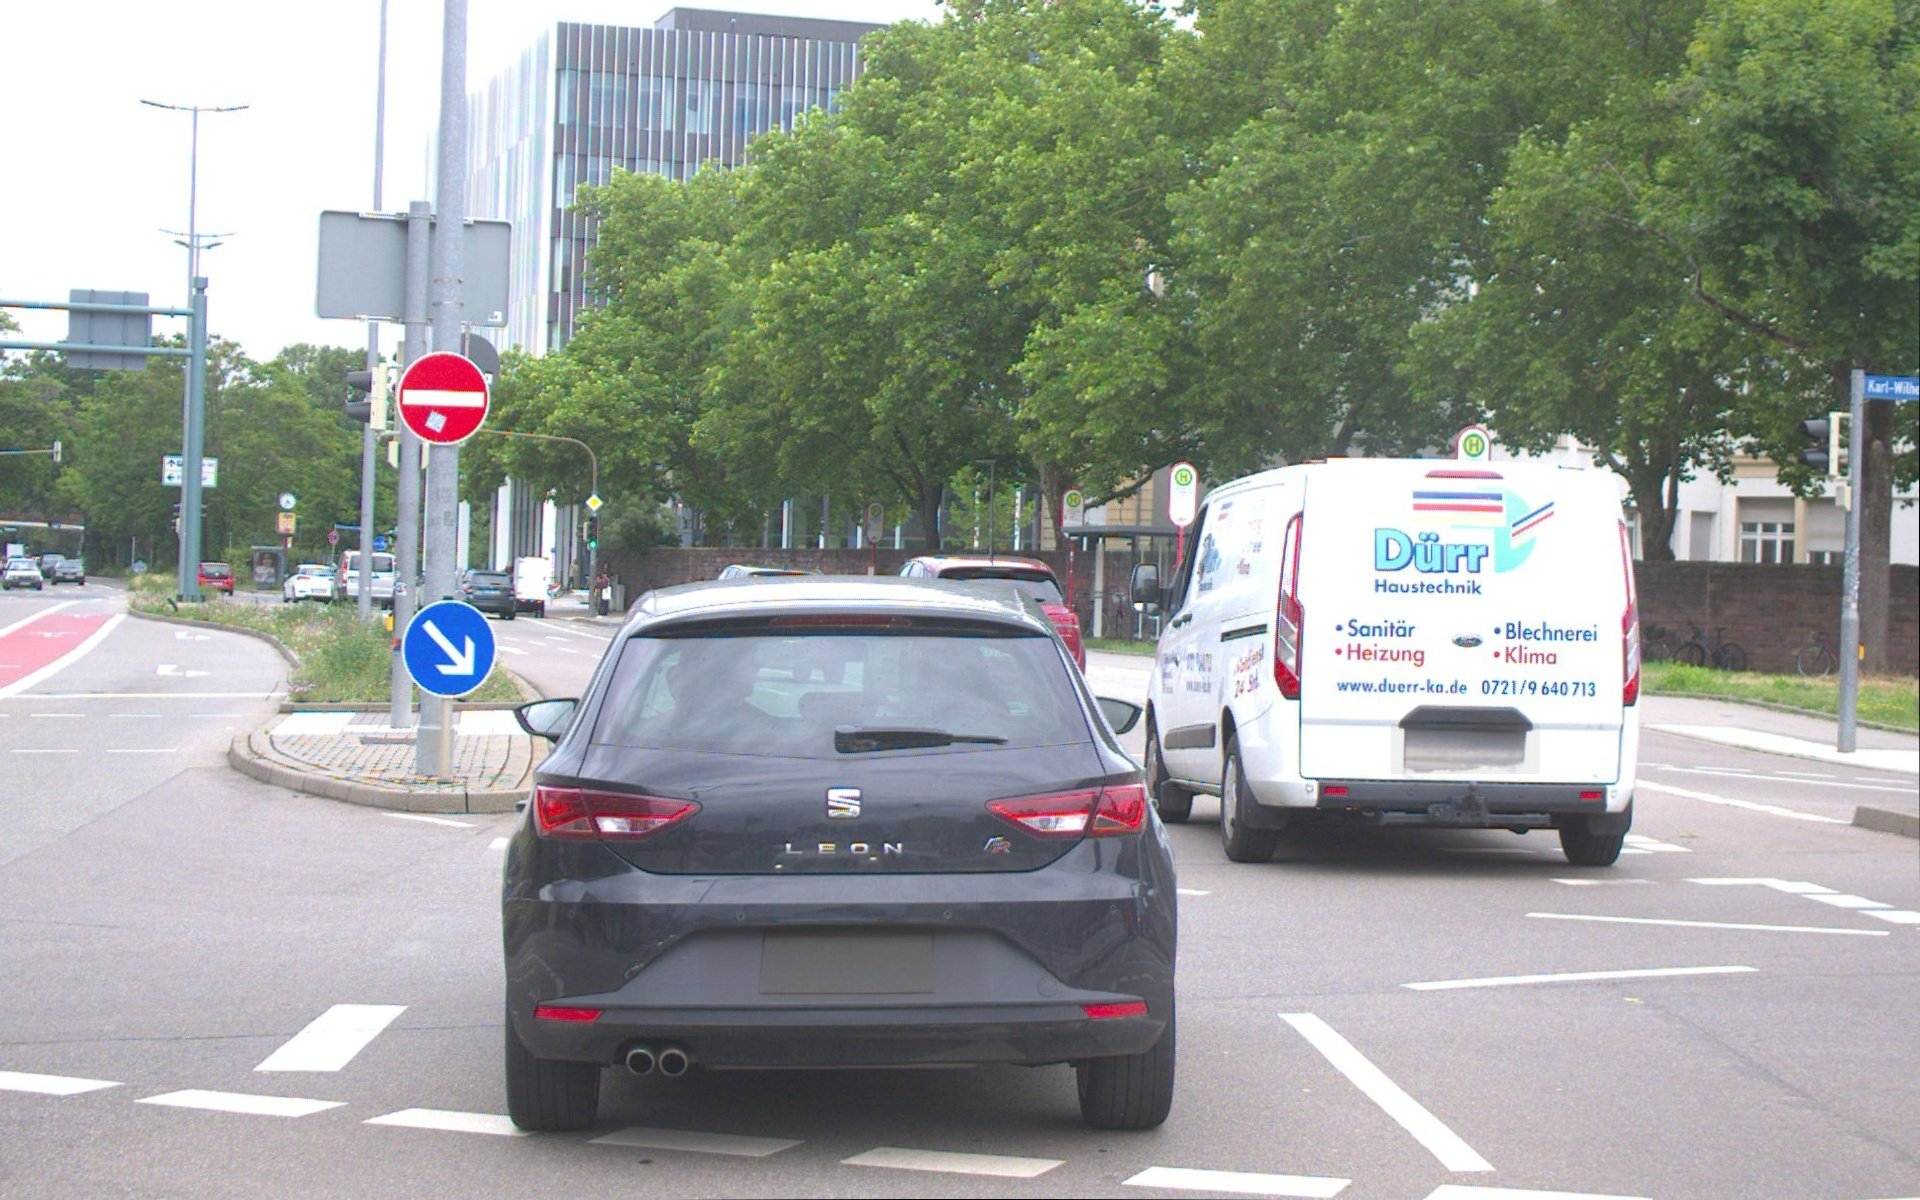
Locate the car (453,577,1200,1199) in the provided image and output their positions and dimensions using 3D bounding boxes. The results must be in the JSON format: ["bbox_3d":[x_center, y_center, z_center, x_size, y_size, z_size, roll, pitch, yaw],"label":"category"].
[{"bbox_3d":[-0.487,0.726,10.170,1.745,1.459,4.000,-1,-1,-5],"label":"car"}]

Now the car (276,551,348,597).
[{"bbox_3d":[-24.372,-0.982,129.194,1.993,1.634,4.001,1,0,-20],"label":"car"}]

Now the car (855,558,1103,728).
[{"bbox_3d":[0.126,0.395,35.426,1.857,1.595,4.206,2,1,-9],"label":"car"}]

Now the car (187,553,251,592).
[{"bbox_3d":[-33.709,-1.253,156.329,1.994,1.676,4.011,1,0,-25],"label":"car"}]

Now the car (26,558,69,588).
[{"bbox_3d":[-57.306,-1.689,215.829,1.993,1.774,4.001,1,0,-24],"label":"car"}]

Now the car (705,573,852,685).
[{"bbox_3d":[-2.816,0.412,52.585,1.993,1.560,4.206,2,1,-6],"label":"car"}]

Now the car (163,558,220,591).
[{"bbox_3d":[-31.533,-1.064,141.025,1.711,1.261,3.341,1,0,-22],"label":"car"}]

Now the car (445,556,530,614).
[{"bbox_3d":[-14.489,-0.475,105.262,1.917,1.678,4.001,1,0,-17],"label":"car"}]

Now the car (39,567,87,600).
[{"bbox_3d":[-49.748,-0.923,190.580,1.993,1.774,4.001,1,0,-23],"label":"car"}]

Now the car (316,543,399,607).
[{"bbox_3d":[-19.543,-0.827,111.355,1.993,2.007,4.001,1,0,-19],"label":"car"}]

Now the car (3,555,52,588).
[{"bbox_3d":[-42.843,-1.316,157.893,1.686,1.411,3.645,1,0,-22],"label":"car"}]

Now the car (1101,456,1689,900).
[{"bbox_3d":[2.134,0.334,18.492,1.993,2.012,5.033,2,1,-6],"label":"car"}]

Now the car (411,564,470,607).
[{"bbox_3d":[-17.564,-0.491,116.187,1.525,1.360,2.970,1,0,-17],"label":"car"}]
